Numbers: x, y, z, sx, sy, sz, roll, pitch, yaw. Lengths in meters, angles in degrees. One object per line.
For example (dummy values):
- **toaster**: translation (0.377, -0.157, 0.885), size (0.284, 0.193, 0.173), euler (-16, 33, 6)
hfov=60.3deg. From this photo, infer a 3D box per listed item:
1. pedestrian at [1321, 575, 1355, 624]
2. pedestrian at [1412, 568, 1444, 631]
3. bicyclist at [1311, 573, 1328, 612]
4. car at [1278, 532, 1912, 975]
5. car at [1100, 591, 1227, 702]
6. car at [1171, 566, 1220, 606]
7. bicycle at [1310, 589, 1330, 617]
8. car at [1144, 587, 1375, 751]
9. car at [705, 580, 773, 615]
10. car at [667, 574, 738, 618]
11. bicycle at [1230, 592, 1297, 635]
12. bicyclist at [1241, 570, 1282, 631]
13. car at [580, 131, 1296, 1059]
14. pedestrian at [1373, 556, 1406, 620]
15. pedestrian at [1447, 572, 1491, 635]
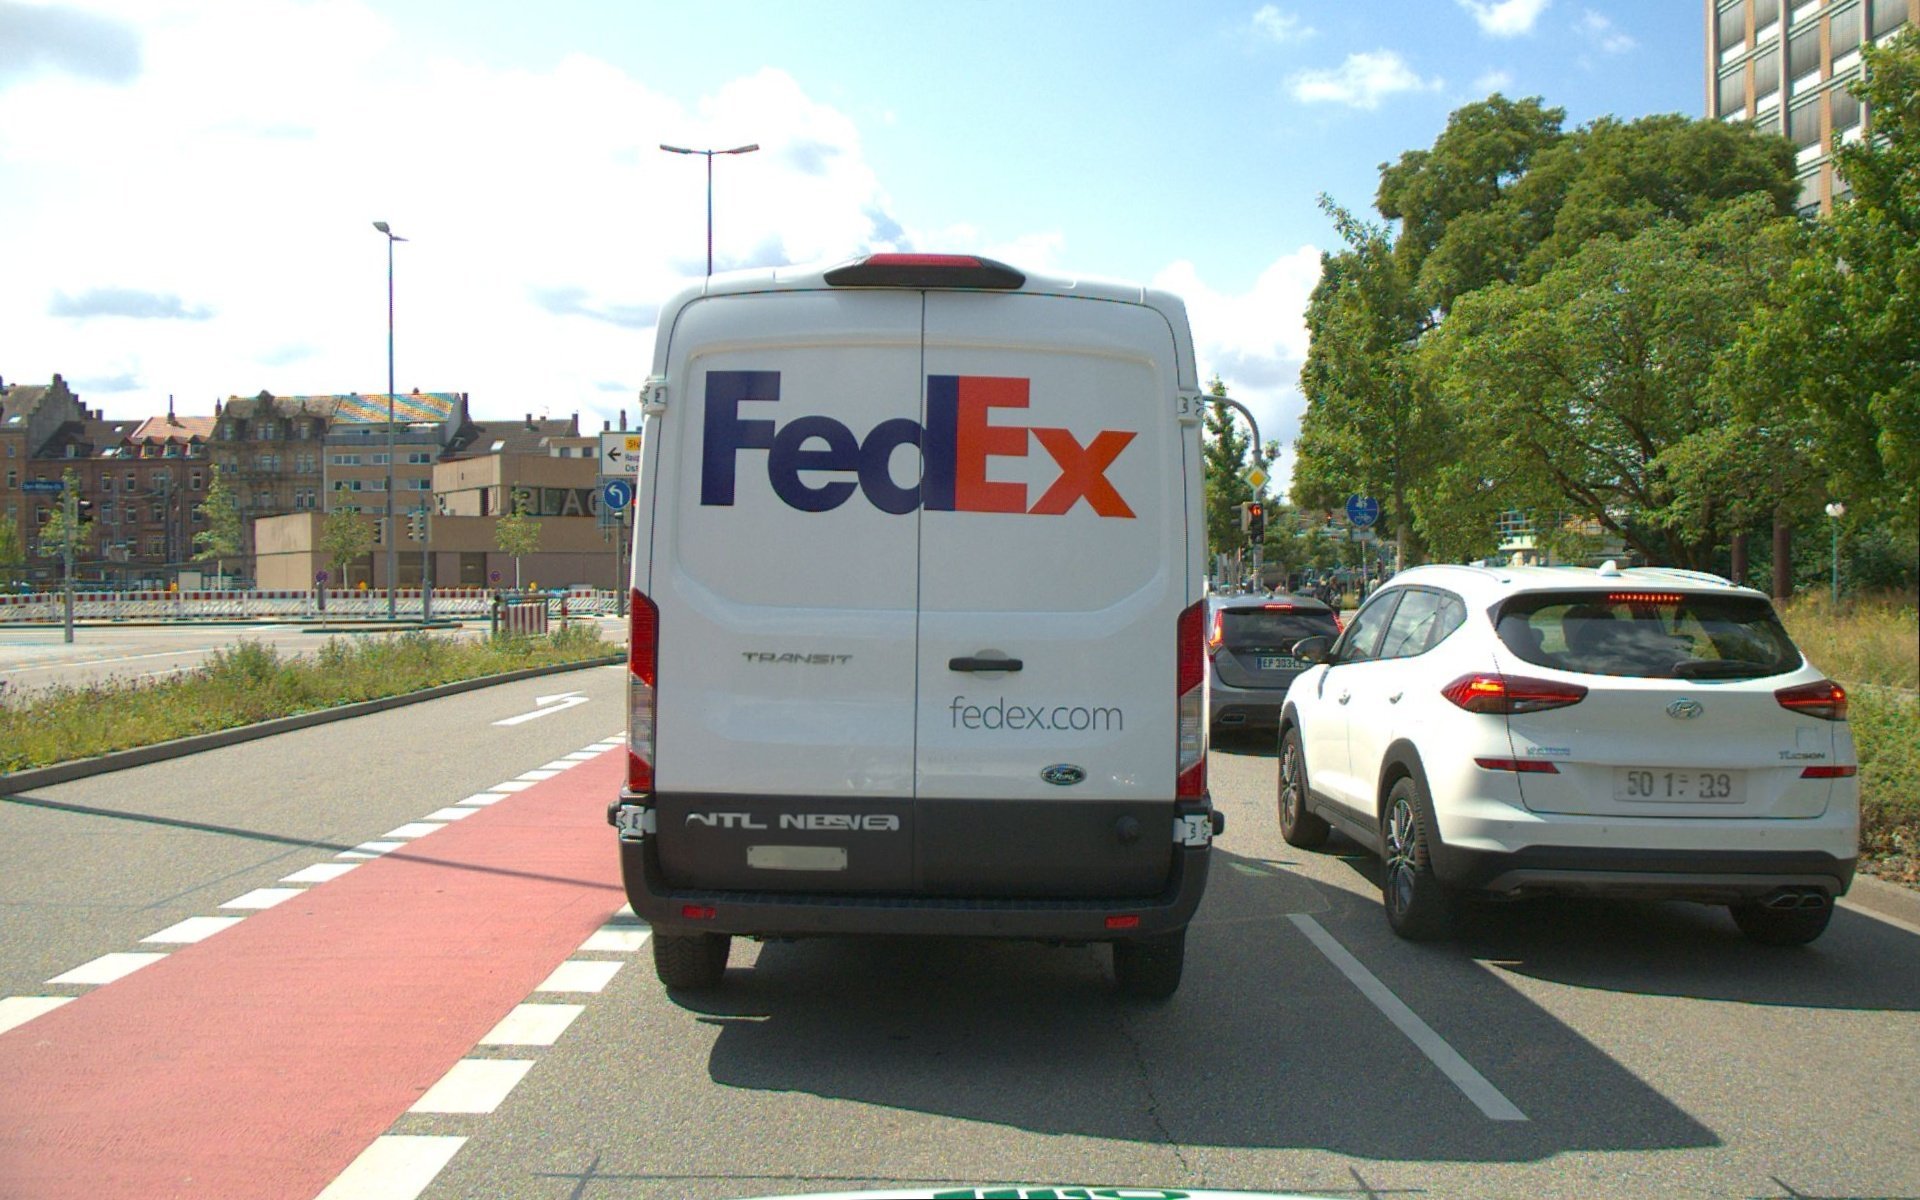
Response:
- **pedestrian**: translation (11.046, -0.021, 48.352), size (0.827, 1.413, 0.741), euler (0, 0, -1)
- **pedestrian**: translation (15.357, -0.035, 54.237), size (0.827, 2.049, 0.741), euler (0, 0, -1)
- **bicyclist**: translation (13.811, -0.285, 63.517), size (0.538, 1.500, 0.972), euler (0, 0, 6)
- **car**: translation (2.848, 0.572, 8.417), size (1.760, 1.717, 4.001), euler (0, 1, 1)
- **car**: translation (2.856, 0.608, 23.750), size (1.454, 1.453, 3.433), euler (0, 1, 1)
- **car**: translation (12.467, -0.723, 87.192), size (2.048, 2.049, 4.647), euler (0, 0, 14)
- **bicycle**: translation (13.813, 0.115, 63.495), size (0.534, 1.048, 1.928), euler (0, 1, 6)
- **car**: translation (2.964, 0.618, 17.083), size (1.760, 1.486, 3.839), euler (0, 1, 1)
- **car**: translation (-10.310, -0.113, 77.505), size (1.860, 1.613, 4.003), euler (0, 0, 13)
- **car**: translation (-12.248, -0.182, 78.804), size (1.951, 2.049, 4.003), euler (0, 0, 13)
- **bicycle**: translation (9.437, 0.419, 51.411), size (2.035, 1.312, 0.600), euler (-1, 1, -22)
- **bicyclist**: translation (9.362, 0.009, 51.366), size (1.103, 1.877, 0.589), euler (-1, 1, -22)
- **car**: translation (-0.189, -0.027, 7.719), size (2.098, 2.699, 5.701), euler (0, 0, -3)
- **pedestrian**: translation (14.034, -0.397, 54.076), size (0.829, 2.094, 0.740), euler (0, 0, -7)
- **pedestrian**: translation (12.788, 0.085, 41.589), size (0.827, 1.565, 0.835), euler (0, 1, -1)
